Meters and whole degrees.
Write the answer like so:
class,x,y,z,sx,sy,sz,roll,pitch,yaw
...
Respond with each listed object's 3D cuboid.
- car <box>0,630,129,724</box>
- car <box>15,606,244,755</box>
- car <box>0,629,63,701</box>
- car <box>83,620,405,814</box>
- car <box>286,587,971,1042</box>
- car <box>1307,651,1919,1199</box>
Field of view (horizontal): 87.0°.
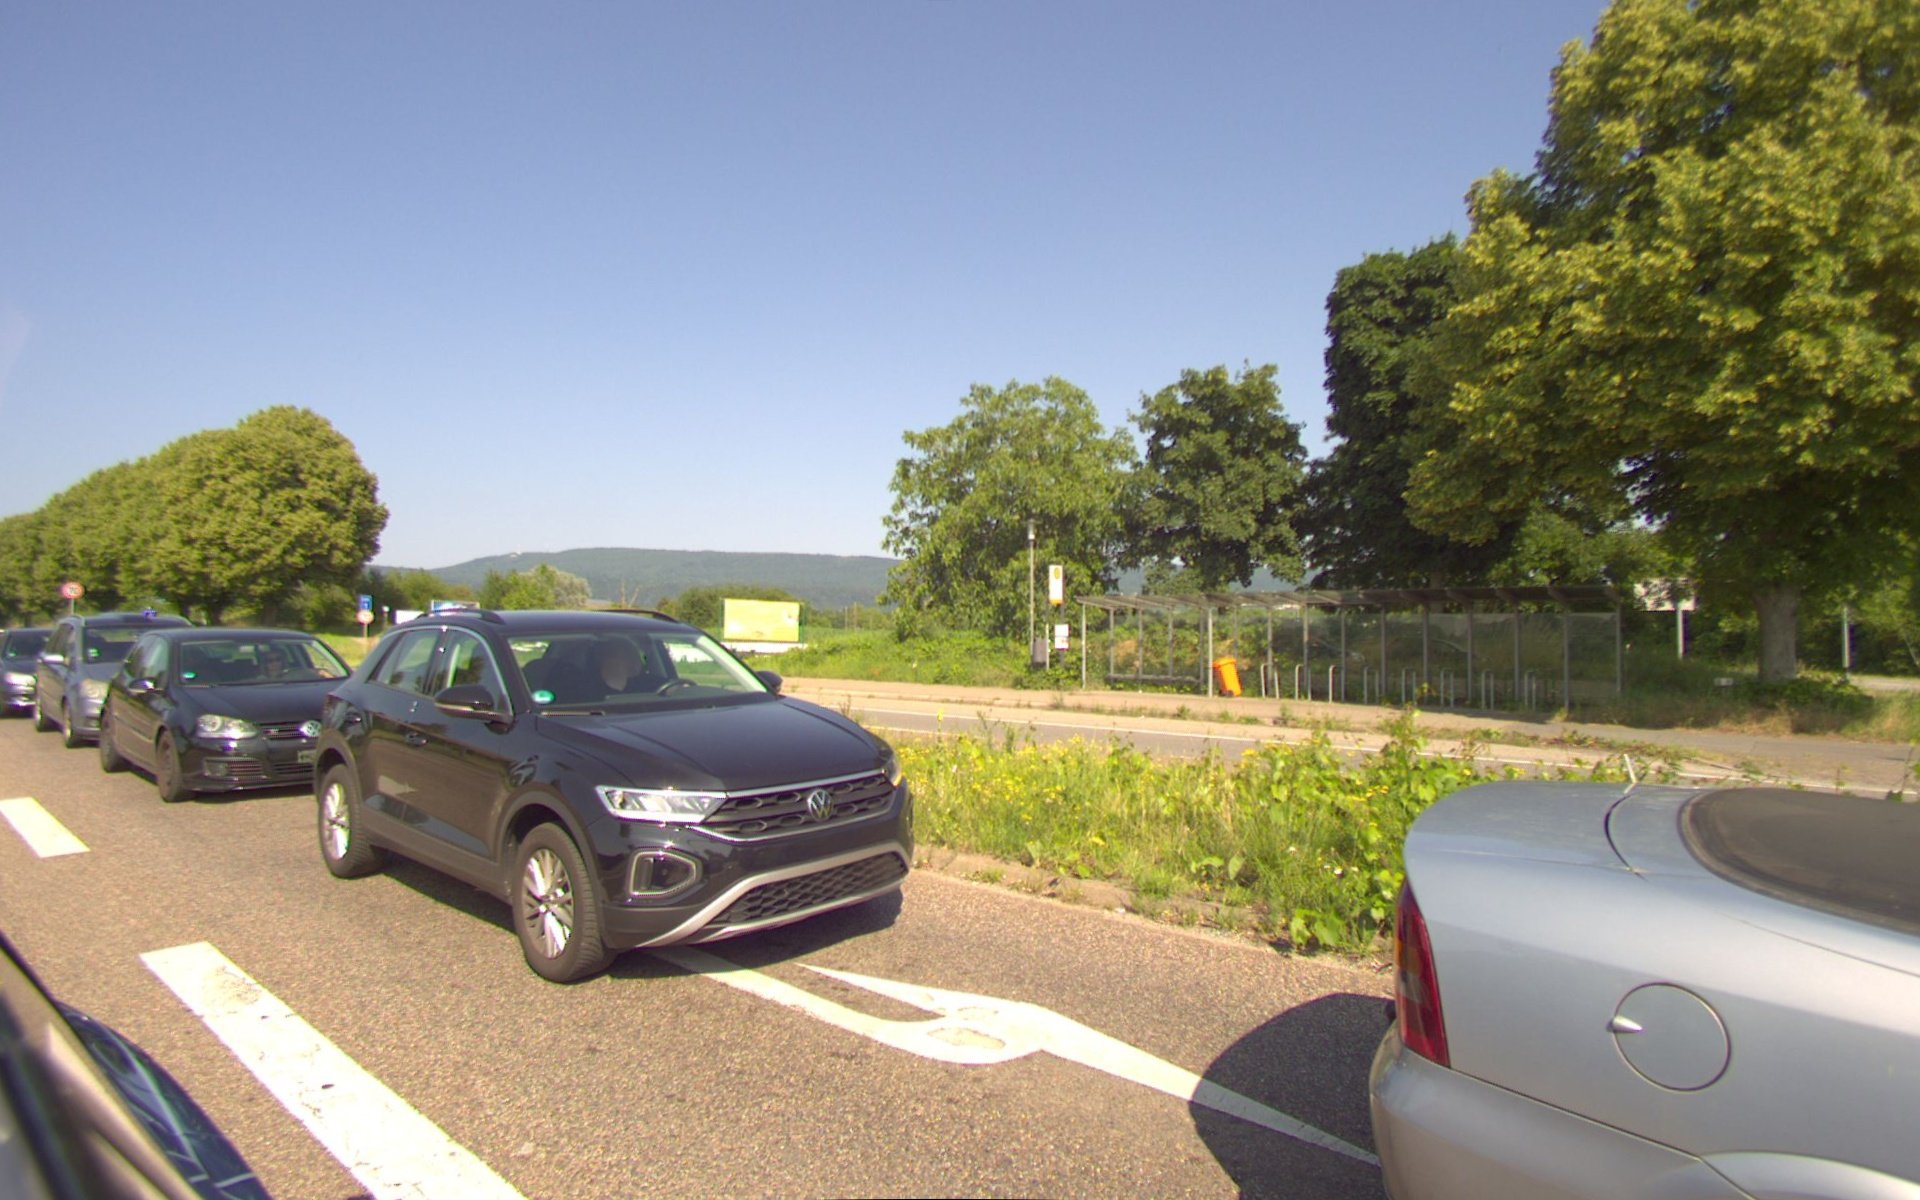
class,x,y,z,sx,sy,sz,roll,pitch,yaw
car,-15.874,1.232,17.469,4.353,1.421,1.696,-2,-2,42
car,-11.257,0.972,13.617,4.355,1.685,1.723,-2,-2,42
car,-21.102,1.368,22.032,4.639,1.436,1.784,-1,-1,41
car,-7.039,0.960,9.791,4.096,1.486,1.648,-2,-2,42
car,-2.044,0.795,5.500,4.096,1.559,1.710,-2,-2,42
car,2.725,0.766,1.169,4.096,1.345,1.656,-1,-3,42
